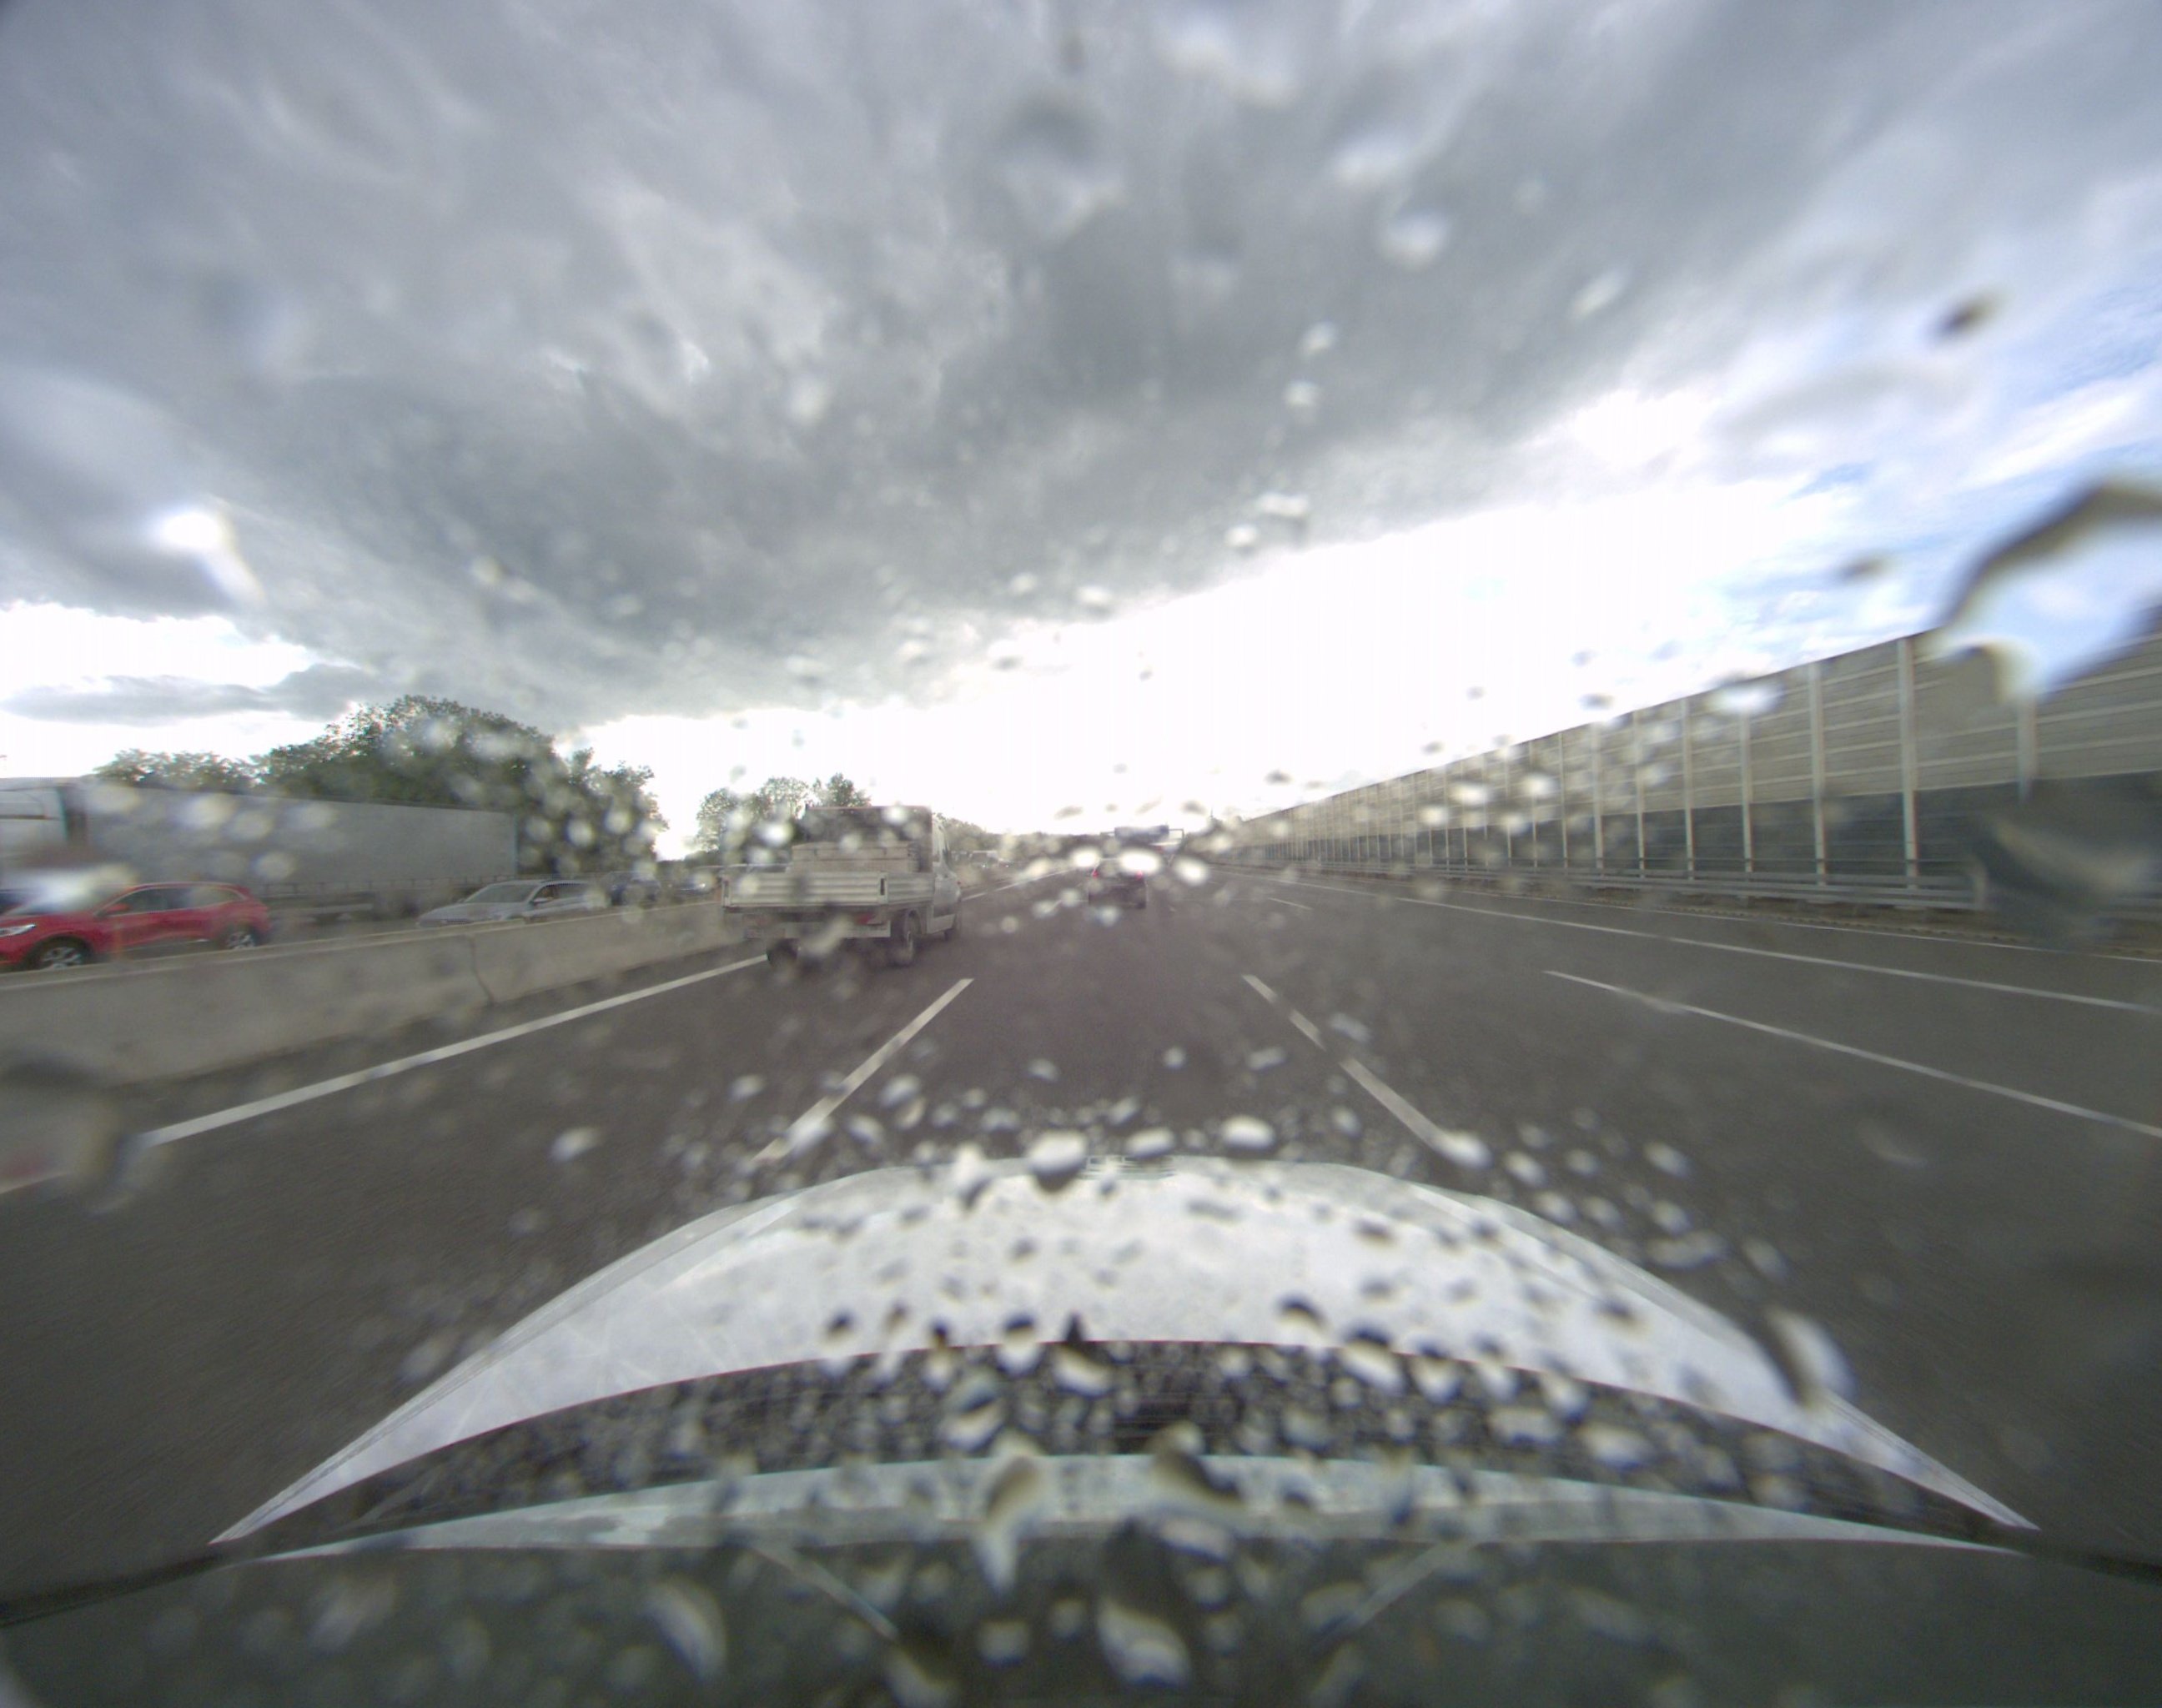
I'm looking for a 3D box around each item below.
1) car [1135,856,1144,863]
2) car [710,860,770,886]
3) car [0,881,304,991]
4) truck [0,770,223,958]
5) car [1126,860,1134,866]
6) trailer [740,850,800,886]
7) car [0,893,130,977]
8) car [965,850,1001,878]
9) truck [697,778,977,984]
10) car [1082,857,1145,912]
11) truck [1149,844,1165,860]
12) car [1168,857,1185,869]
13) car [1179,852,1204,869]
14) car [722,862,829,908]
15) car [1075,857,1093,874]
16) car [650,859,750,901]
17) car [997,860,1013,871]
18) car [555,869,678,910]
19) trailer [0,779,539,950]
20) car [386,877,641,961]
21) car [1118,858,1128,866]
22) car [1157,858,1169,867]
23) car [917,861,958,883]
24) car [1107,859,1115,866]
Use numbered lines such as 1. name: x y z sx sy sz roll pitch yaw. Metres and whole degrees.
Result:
1. car: 13.981 1.339 195.557 1.960 1.561 4.435 -2 -1 2
2. car: -23.286 1.254 55.824 2.052 1.645 4.522 -1 0 2
3. car: -17.283 1.346 14.581 2.052 1.535 4.722 -1 0 2
4. truck: -24.635 0.245 19.014 2.960 4.034 5.729 -1 0 2
5. car: 13.419 2.557 224.971 1.961 1.561 4.434 -2 -1 1
6. trailer: -23.069 0.992 60.731 2.191 2.484 5.231 -2 0 3
7. car: -20.593 1.555 15.137 1.531 1.455 3.590 -1 0 2
8. car: -10.460 1.008 87.970 2.221 2.749 9.173 -1 1 3
9. truck: -3.395 0.306 13.381 2.299 2.439 7.149 -1 0 1
10. car: 0.990 0.848 24.698 1.710 1.417 4.281 -1 0 2
11. truck: 17.950 -0.491 193.299 3.140 3.601 12.707 0 0 2
12. car: 12.949 1.221 110.760 1.875 1.542 4.435 -2 -1 2
13. car: 10.076 0.575 74.538 1.941 1.418 4.235 -2 -1 3
14. car: -12.204 1.181 33.001 2.052 1.645 5.383 -1 0 2
15. car: 0.294 1.159 84.782 1.711 1.624 4.280 -1 0 2
16. car: -16.433 1.087 35.412 2.052 1.645 4.522 -1 0 2
17. car: -11.779 1.818 125.709 1.715 1.646 4.524 0 -1 4
18. car: -20.195 1.485 35.793 2.052 1.535 5.473 -1 0 2
19. trailer: -24.328 0.233 26.641 2.920 4.031 14.461 -1 0 2
20. car: -13.112 1.417 19.416 2.052 1.535 5.473 -1 0 2
21. car: 8.295 1.604 162.502 1.960 1.561 4.435 -2 -1 2
22. car: 14.959 1.548 147.990 1.875 1.561 4.435 -2 -1 2
23. car: -11.328 1.390 64.638 2.052 1.535 5.473 -1 0 2
24. car: 7.146 2.064 194.191 1.960 1.561 4.435 -2 -1 2
